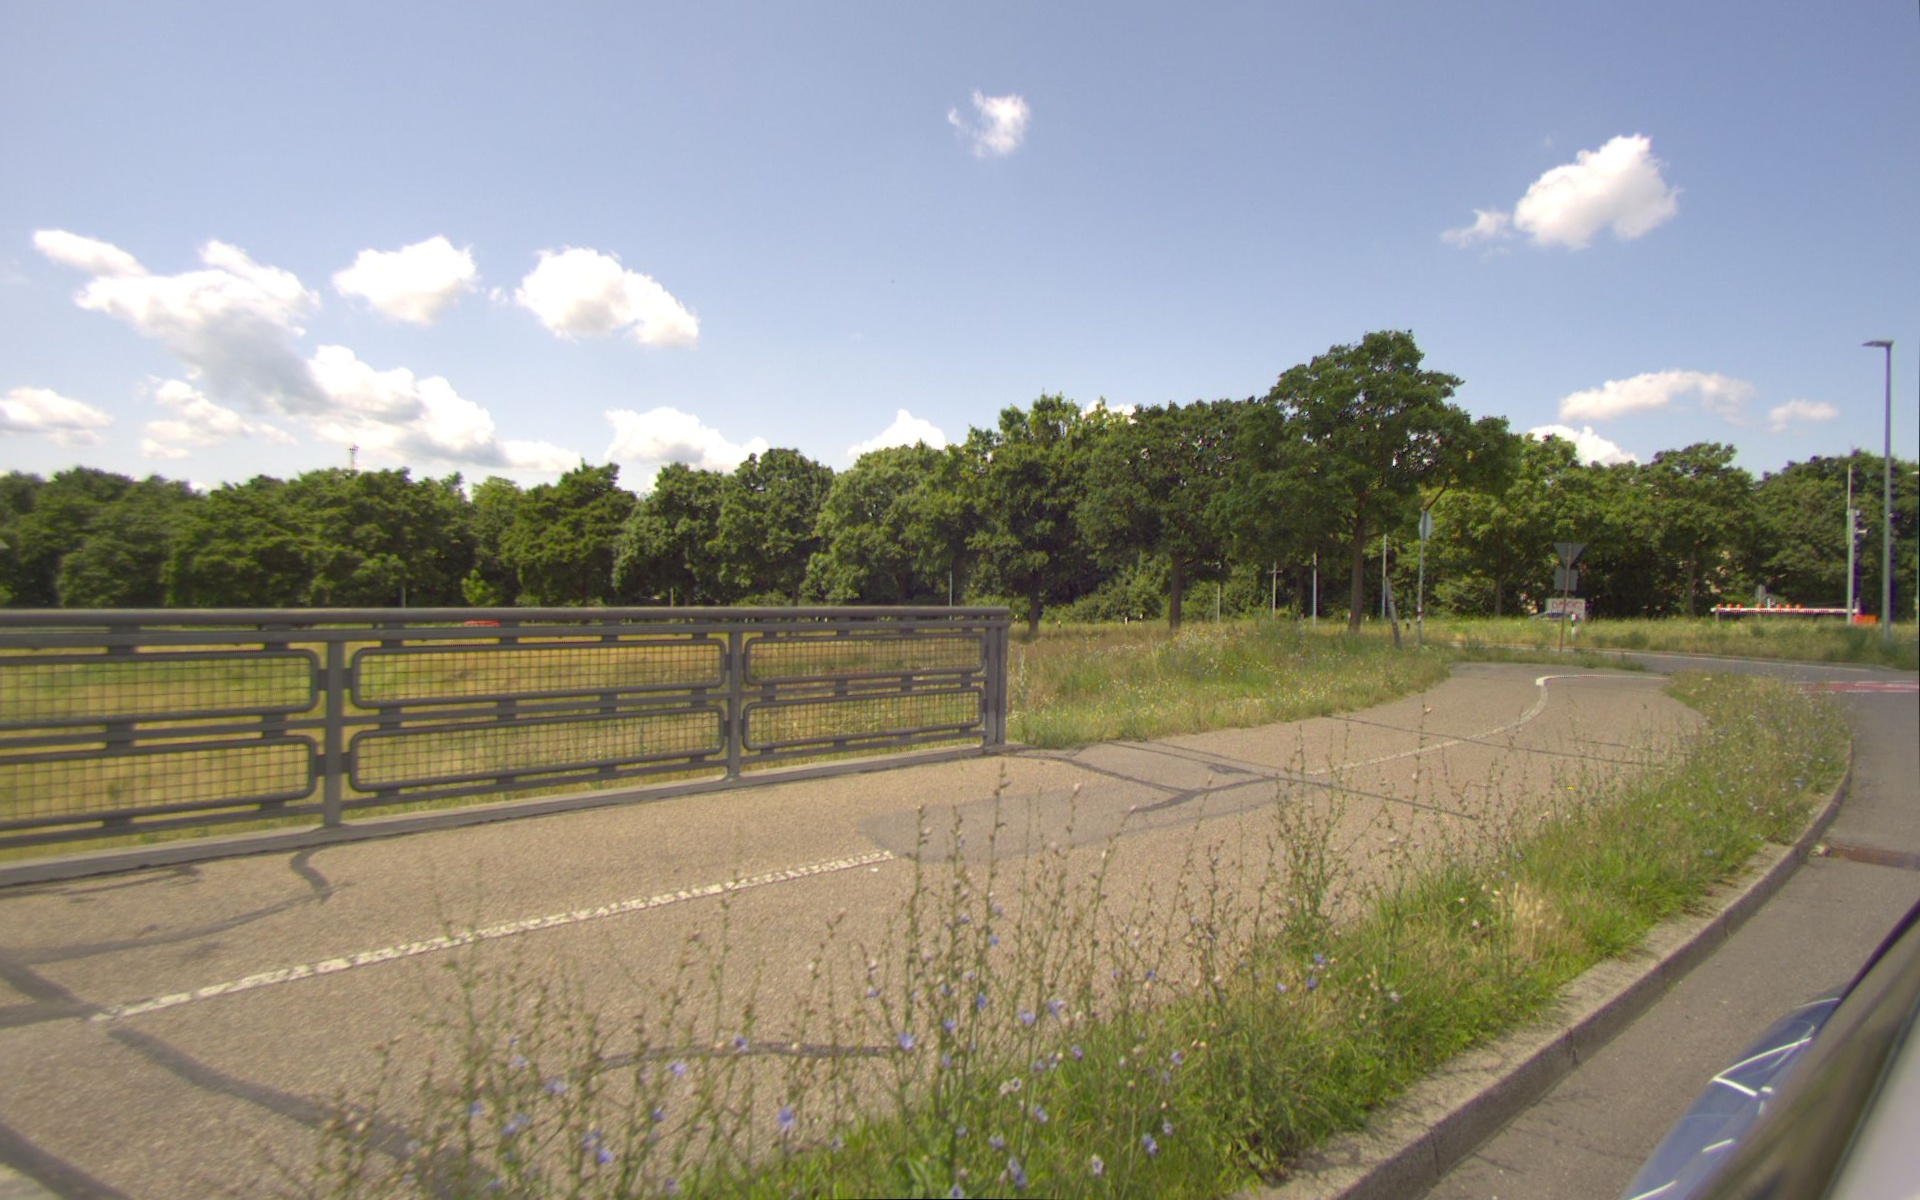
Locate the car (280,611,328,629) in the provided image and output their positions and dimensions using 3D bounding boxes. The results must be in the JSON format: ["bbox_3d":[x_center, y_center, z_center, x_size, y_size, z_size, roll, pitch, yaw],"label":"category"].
[{"bbox_3d":[-71.942,2.214,110.954,3.921,1.906,2.001,0,-1,-3],"label":"car"}]

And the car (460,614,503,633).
[{"bbox_3d":[-51.555,2.544,109.096,3.946,2.039,1.989,0,-1,18],"label":"car"}]
